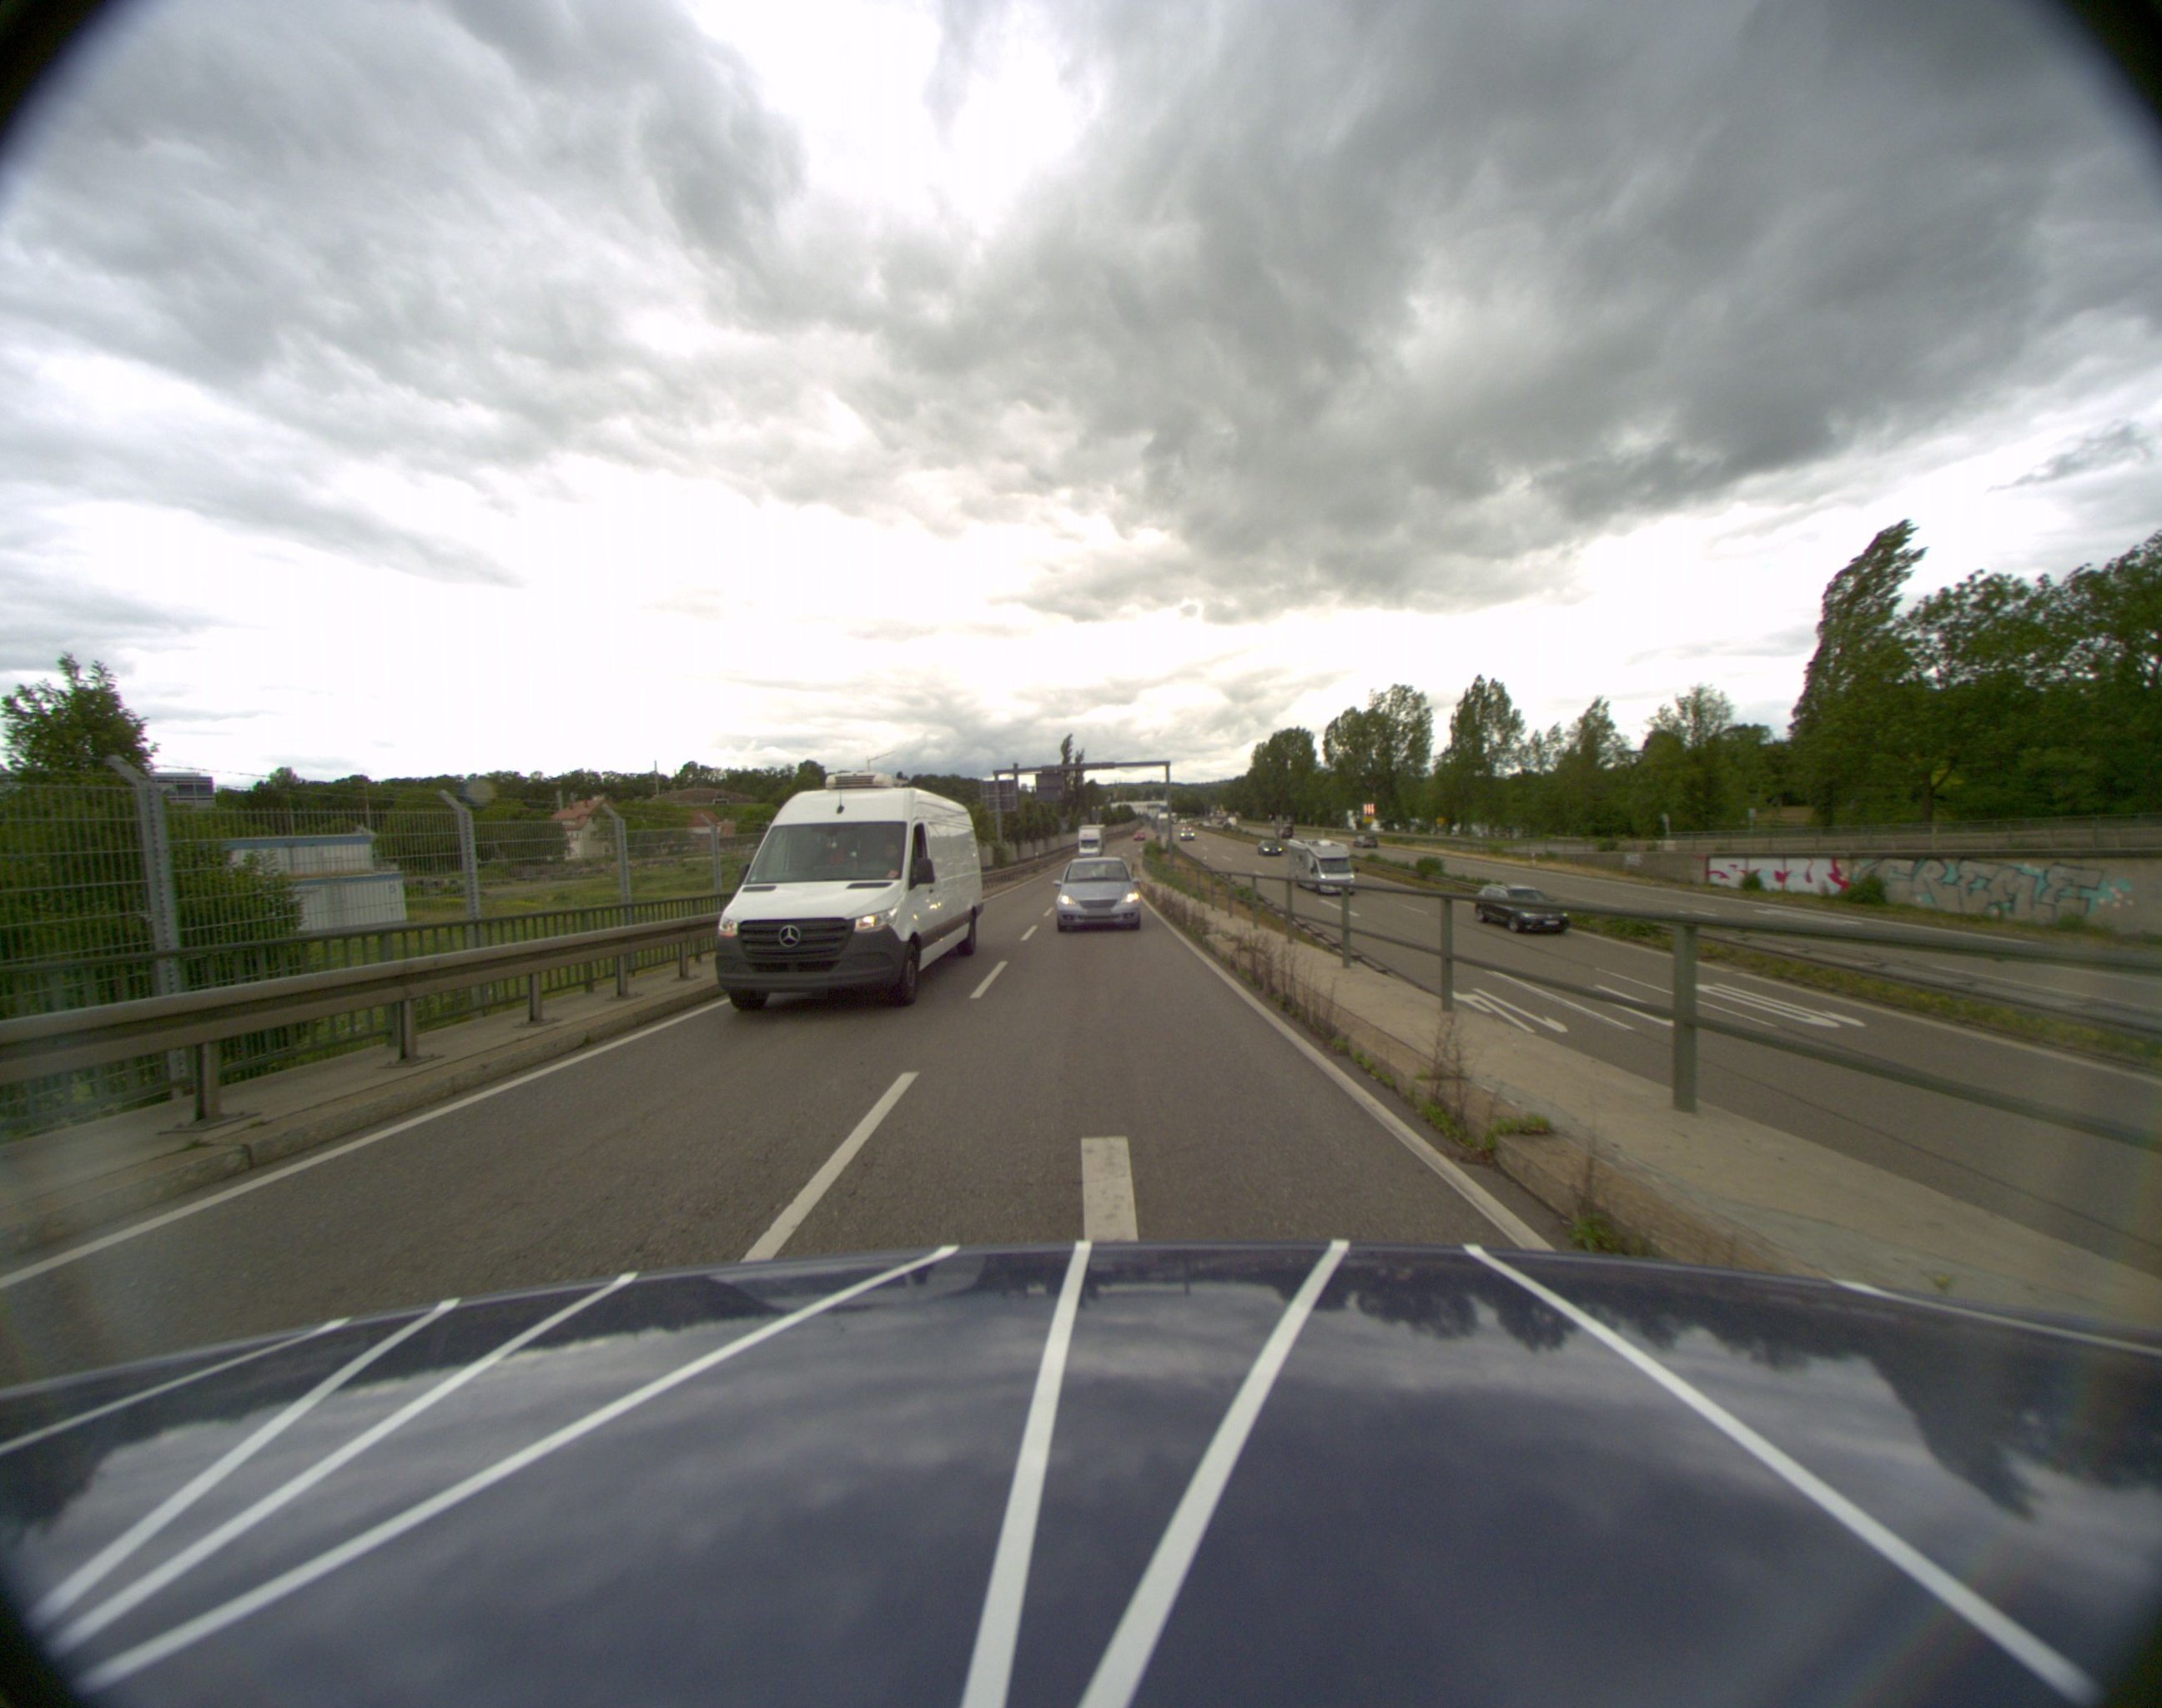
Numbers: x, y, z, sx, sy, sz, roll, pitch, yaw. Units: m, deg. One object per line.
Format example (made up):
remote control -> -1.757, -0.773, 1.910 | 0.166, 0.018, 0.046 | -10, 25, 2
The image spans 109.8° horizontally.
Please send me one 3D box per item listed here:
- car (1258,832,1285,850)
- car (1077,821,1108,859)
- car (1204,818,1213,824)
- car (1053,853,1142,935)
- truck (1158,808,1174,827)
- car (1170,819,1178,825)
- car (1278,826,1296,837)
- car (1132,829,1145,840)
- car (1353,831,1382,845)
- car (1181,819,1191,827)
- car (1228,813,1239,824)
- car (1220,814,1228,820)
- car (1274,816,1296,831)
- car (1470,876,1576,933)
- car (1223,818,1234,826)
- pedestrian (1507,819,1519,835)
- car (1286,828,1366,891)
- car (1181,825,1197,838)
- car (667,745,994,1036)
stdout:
car -> 19.224, -1.302, 76.876 | 1.754, 1.562, 4.217 | -2, 4, 1
car -> 1.163, -1.370, 72.772 | 2.665, 3.311, 7.090 | -2, 1, 3
car -> 35.637, -9.255, 212.238 | 1.761, 1.641, 3.929 | -2, 4, 1
car -> 0.372, 0.827, 17.540 | 1.780, 1.578, 4.000 | -2, 1, 1
truck -> 18.885, -8.184, 169.224 | 2.758, 4.229, 6.694 | -1, 4, 1
car -> 24.147, -8.277, 197.346 | 1.920, 1.411, 4.274 | -2, 4, 2
car -> 30.699, -3.417, 113.306 | 1.668, 1.493, 3.856 | -1, 4, 1
car -> 9.052, -3.023, 119.595 | 1.780, 1.578, 4.000 | -2, 1, 3
car -> 32.481, -1.839, 86.277 | 1.715, 1.368, 4.108 | -1, 4, 1
car -> 22.335, -6.691, 162.236 | 1.756, 1.433, 4.162 | -2, 5, 2
car -> 41.805, -9.807, 208.485 | 2.215, 2.765, 5.357 | -1, 4, 1
car -> 46.741, -12.120, 249.035 | 1.903, 1.641, 3.929 | -2, 4, 1
car -> 34.998, -5.283, 130.532 | 2.250, 2.533, 6.110 | -2, 4, 0
car -> 17.517, 1.937, 30.376 | 1.844, 1.704, 4.277 | -1, 4, 3
car -> 36.445, -7.902, 187.478 | 1.903, 1.641, 4.331 | -1, 4, 1
pedestrian -> 48.496, -2.999, 85.319 | 0.831, 1.696, 1.077 | -3, 4, 2
car -> 14.421, 0.197, 45.434 | 2.367, 3.223, 7.655 | 1, 4, 1
car -> 16.192, -3.385, 114.054 | 1.845, 1.789, 4.279 | -2, 1, 1
car -> -2.834, 0.329, 10.793 | 2.115, 2.767, 6.779 | -2, 1, 2
